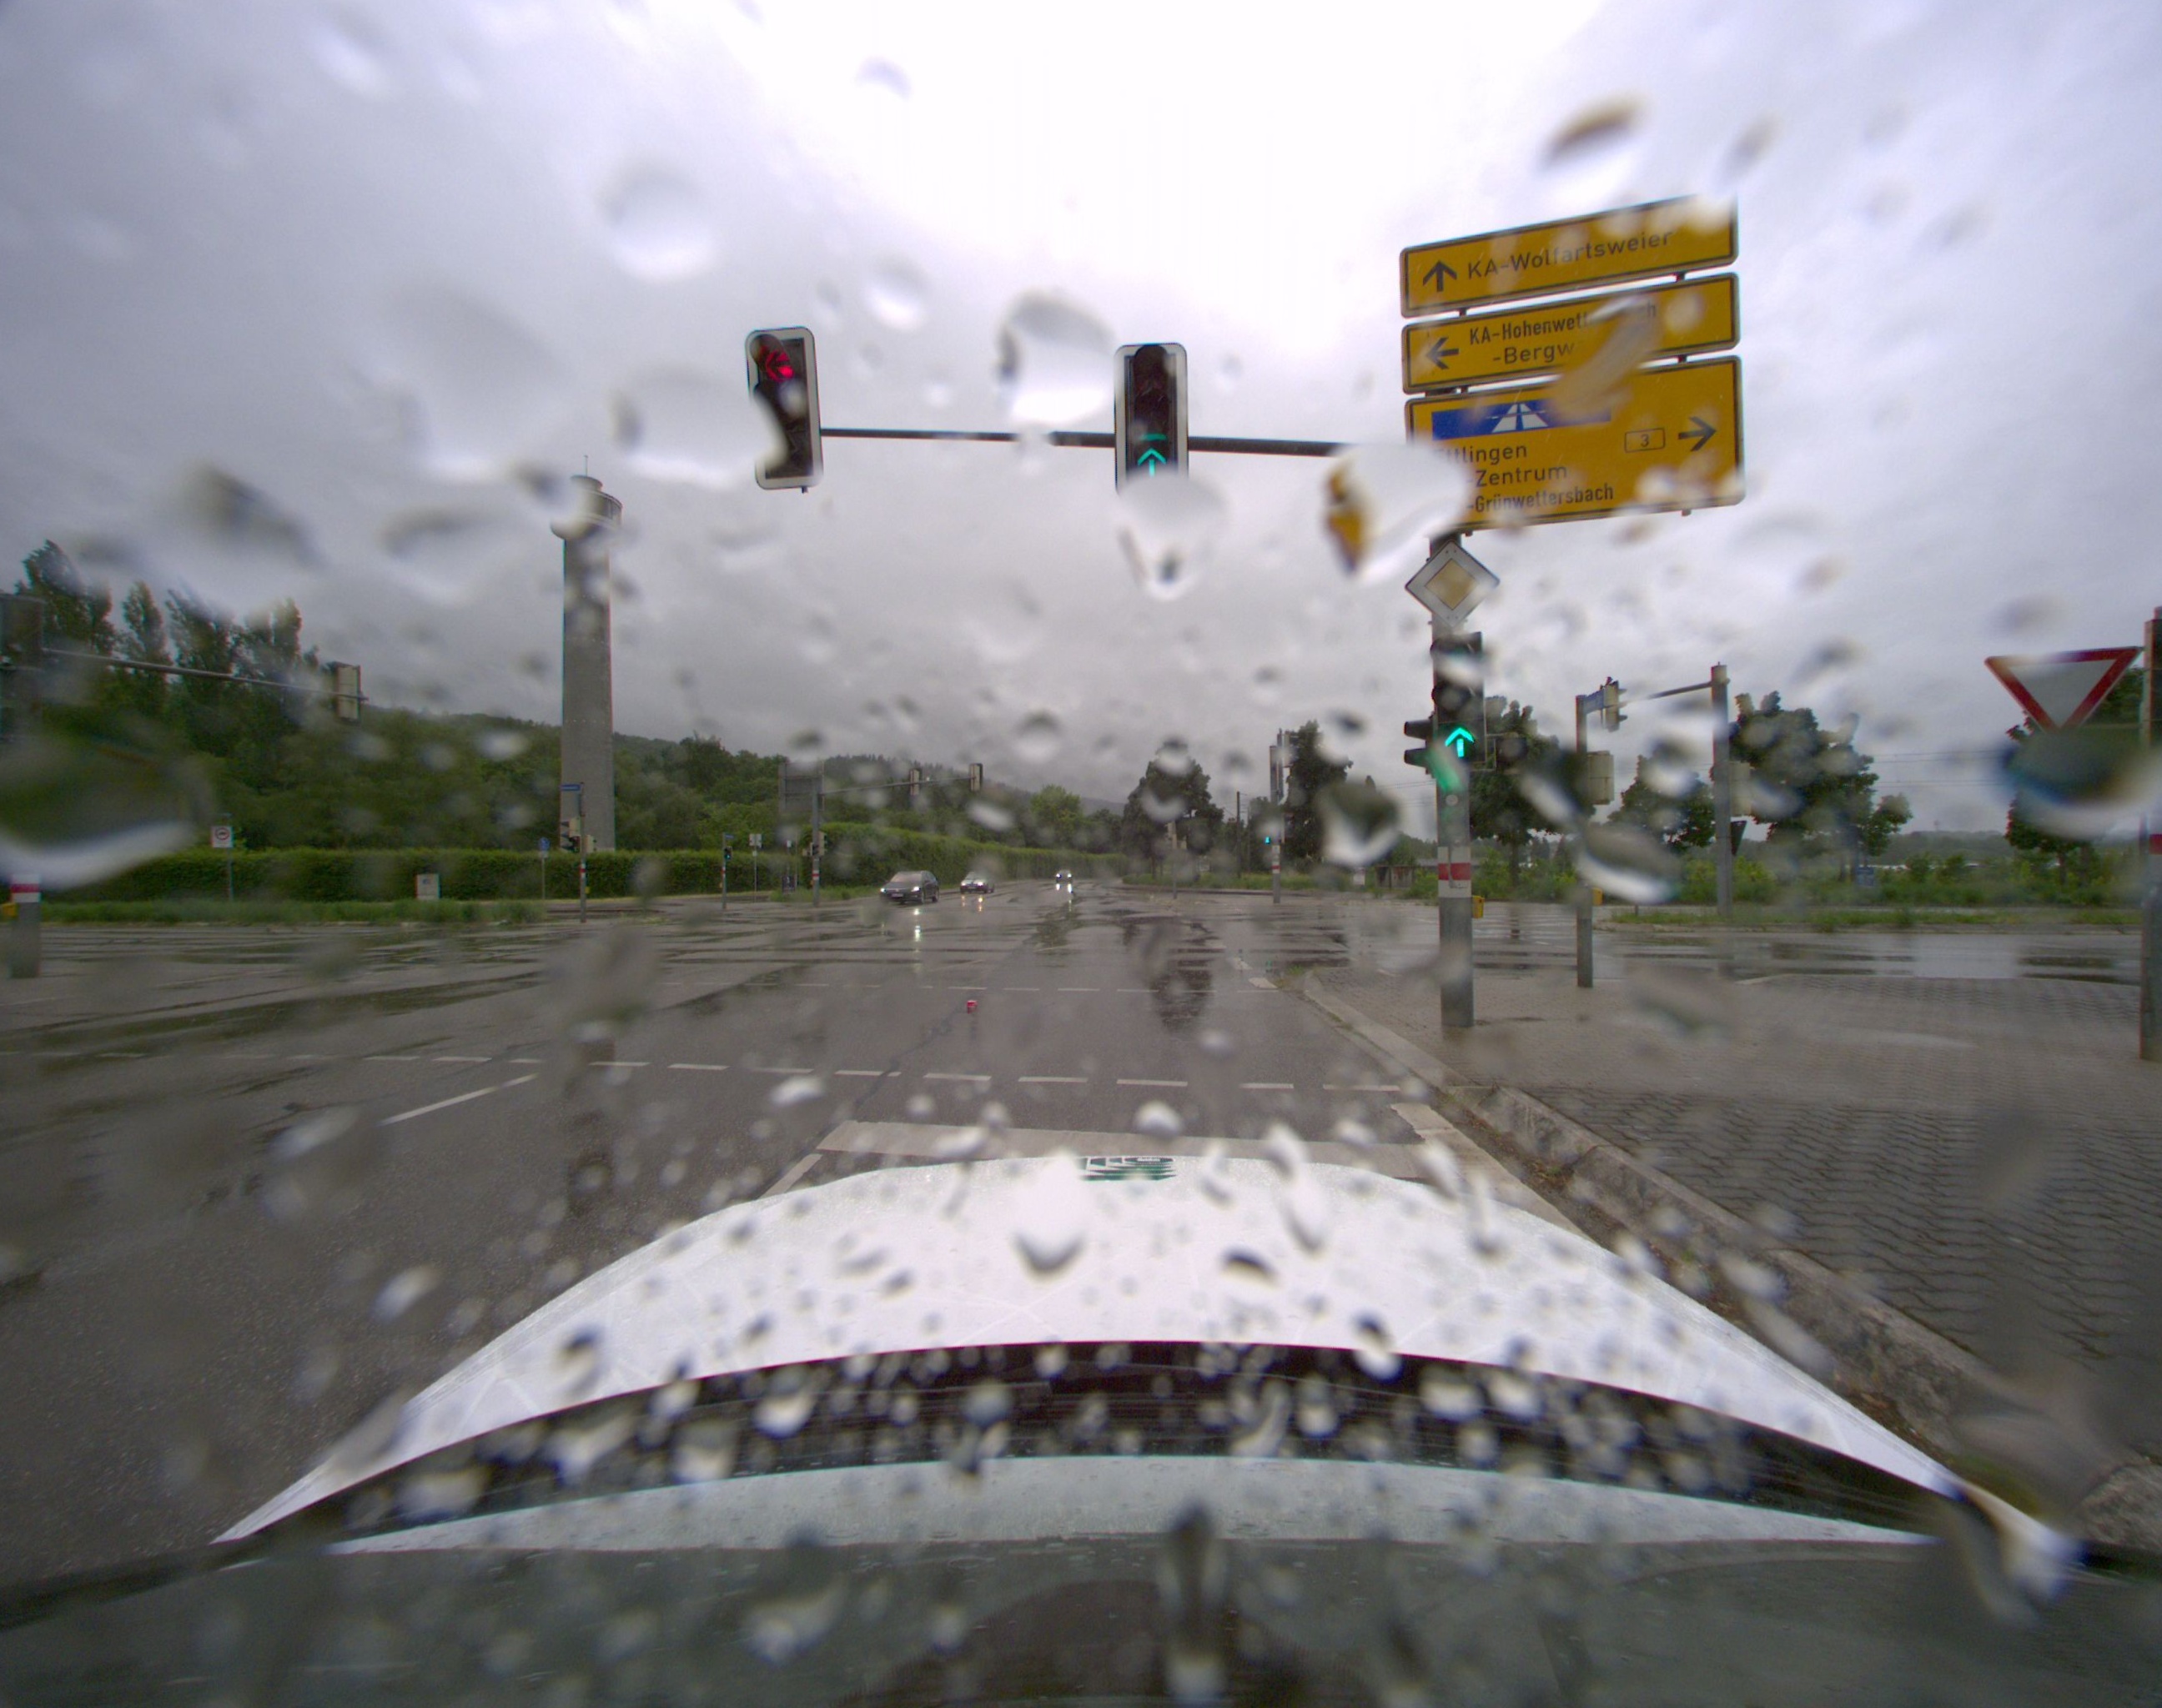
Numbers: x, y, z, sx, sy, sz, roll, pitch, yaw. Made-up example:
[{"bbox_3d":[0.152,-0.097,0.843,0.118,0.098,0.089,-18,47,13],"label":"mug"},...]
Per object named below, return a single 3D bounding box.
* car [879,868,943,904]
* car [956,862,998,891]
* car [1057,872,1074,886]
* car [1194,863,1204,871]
[{"bbox_3d":[-7.618,1.398,36.974,1.701,1.466,4.457,-1,-1,3],"label":"car"},{"bbox_3d":[-6.644,1.418,52.278,2.029,1.708,4.067,-1,0,2],"label":"car"},{"bbox_3d":[-1.758,2.815,92.070,1.779,1.505,4.060,-1,-1,0],"label":"car"},{"bbox_3d":[30.069,3.238,207.920,1.939,1.904,4.137,-1,-1,15],"label":"car"}]
